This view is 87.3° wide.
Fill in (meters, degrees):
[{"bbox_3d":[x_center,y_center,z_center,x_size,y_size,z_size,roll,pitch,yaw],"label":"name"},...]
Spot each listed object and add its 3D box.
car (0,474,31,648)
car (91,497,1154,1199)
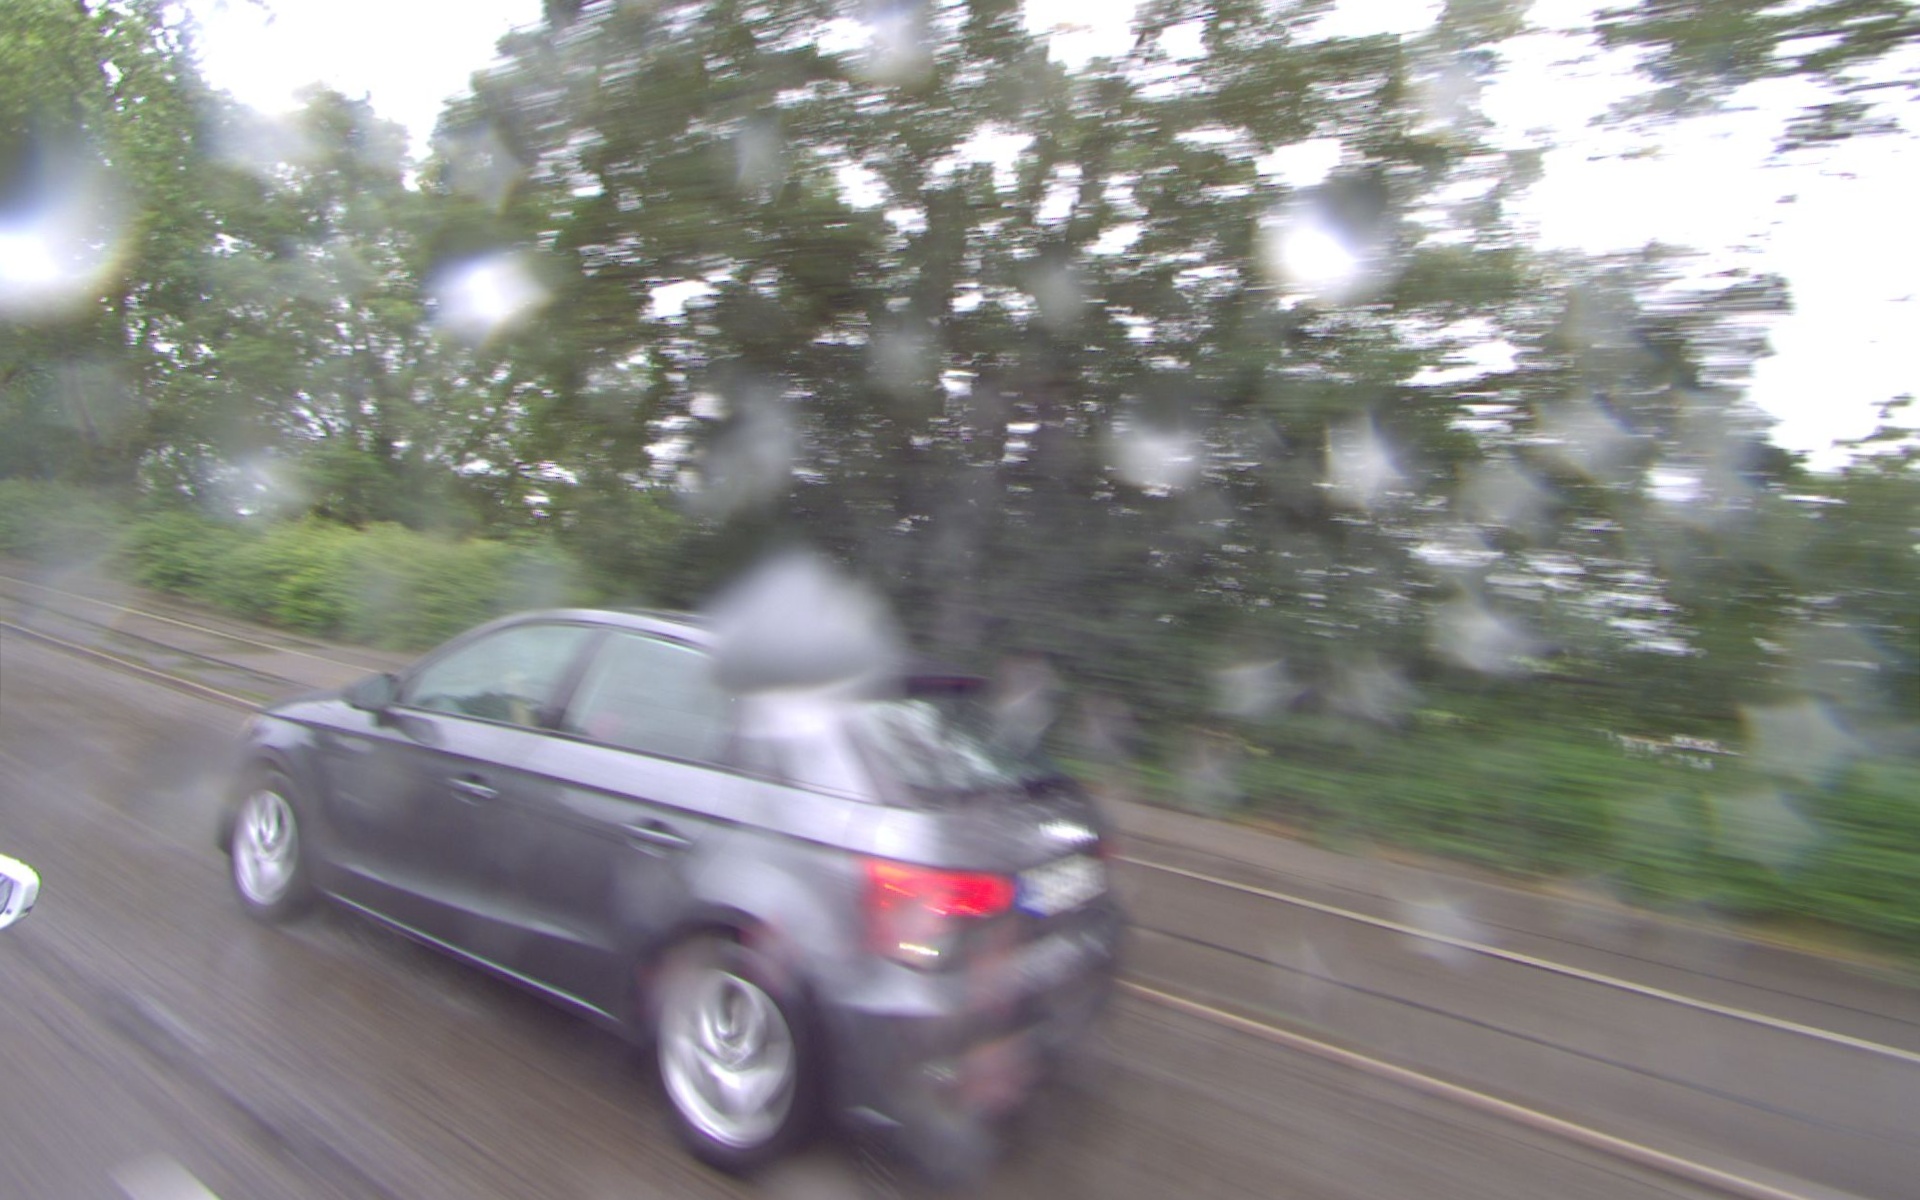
[{"bbox_3d":[-12.063,-0.732,10.614,4.645,1.737,1.904,8,-1,30],"label":"car"},{"bbox_3d":[-1.475,0.643,4.208,3.923,1.546,1.972,8,-1,30],"label":"car"}]
